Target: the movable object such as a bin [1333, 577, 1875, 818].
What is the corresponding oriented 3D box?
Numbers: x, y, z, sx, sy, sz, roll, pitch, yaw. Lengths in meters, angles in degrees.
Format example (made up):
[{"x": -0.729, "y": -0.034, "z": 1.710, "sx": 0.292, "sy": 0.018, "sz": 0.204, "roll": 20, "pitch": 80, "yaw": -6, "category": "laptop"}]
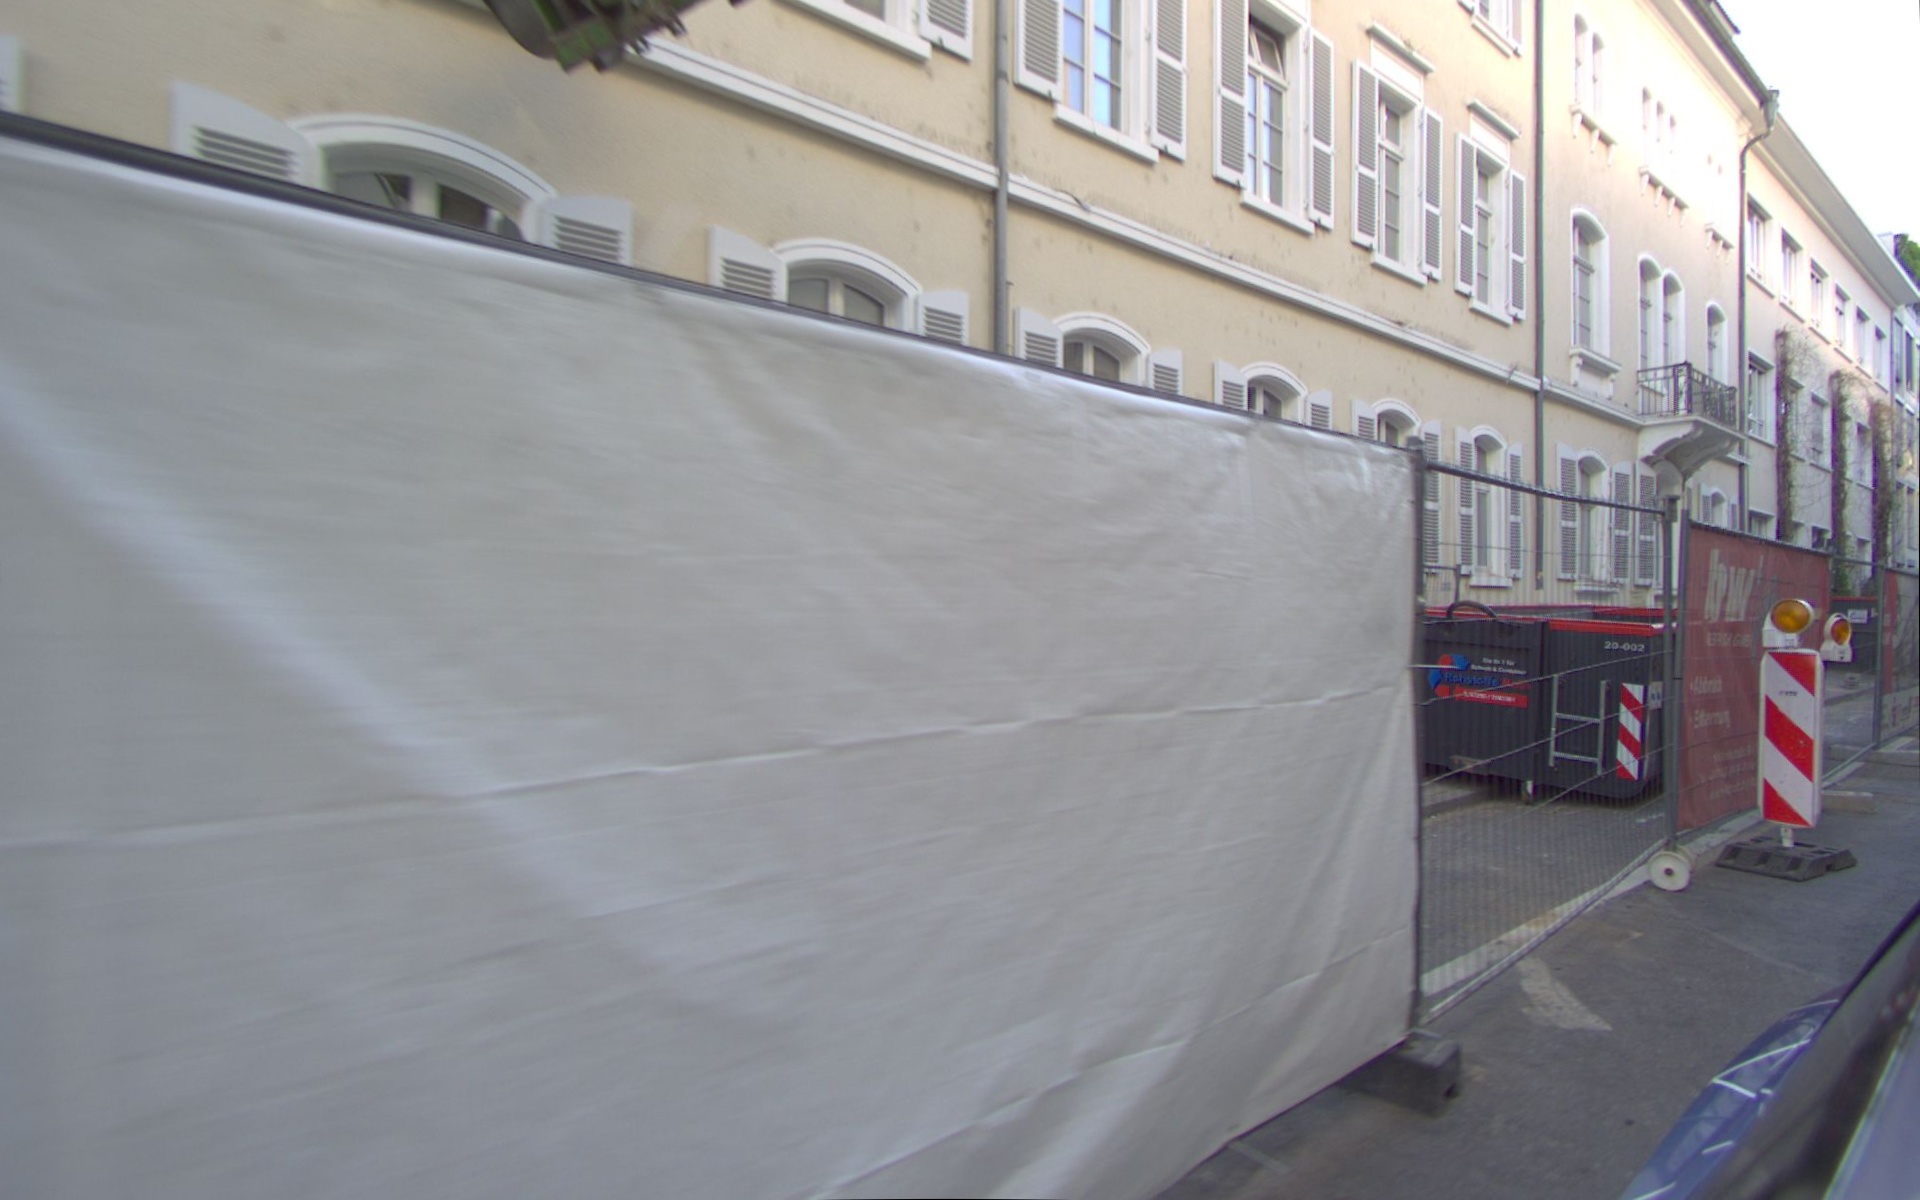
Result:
[{"x": 7.072, "y": 0.702, "z": 10.578, "sx": 7.166, "sy": 1.686, "sz": 2.896, "roll": 1, "pitch": 0, "yaw": -41, "category": "movable object such as a bin"}]
